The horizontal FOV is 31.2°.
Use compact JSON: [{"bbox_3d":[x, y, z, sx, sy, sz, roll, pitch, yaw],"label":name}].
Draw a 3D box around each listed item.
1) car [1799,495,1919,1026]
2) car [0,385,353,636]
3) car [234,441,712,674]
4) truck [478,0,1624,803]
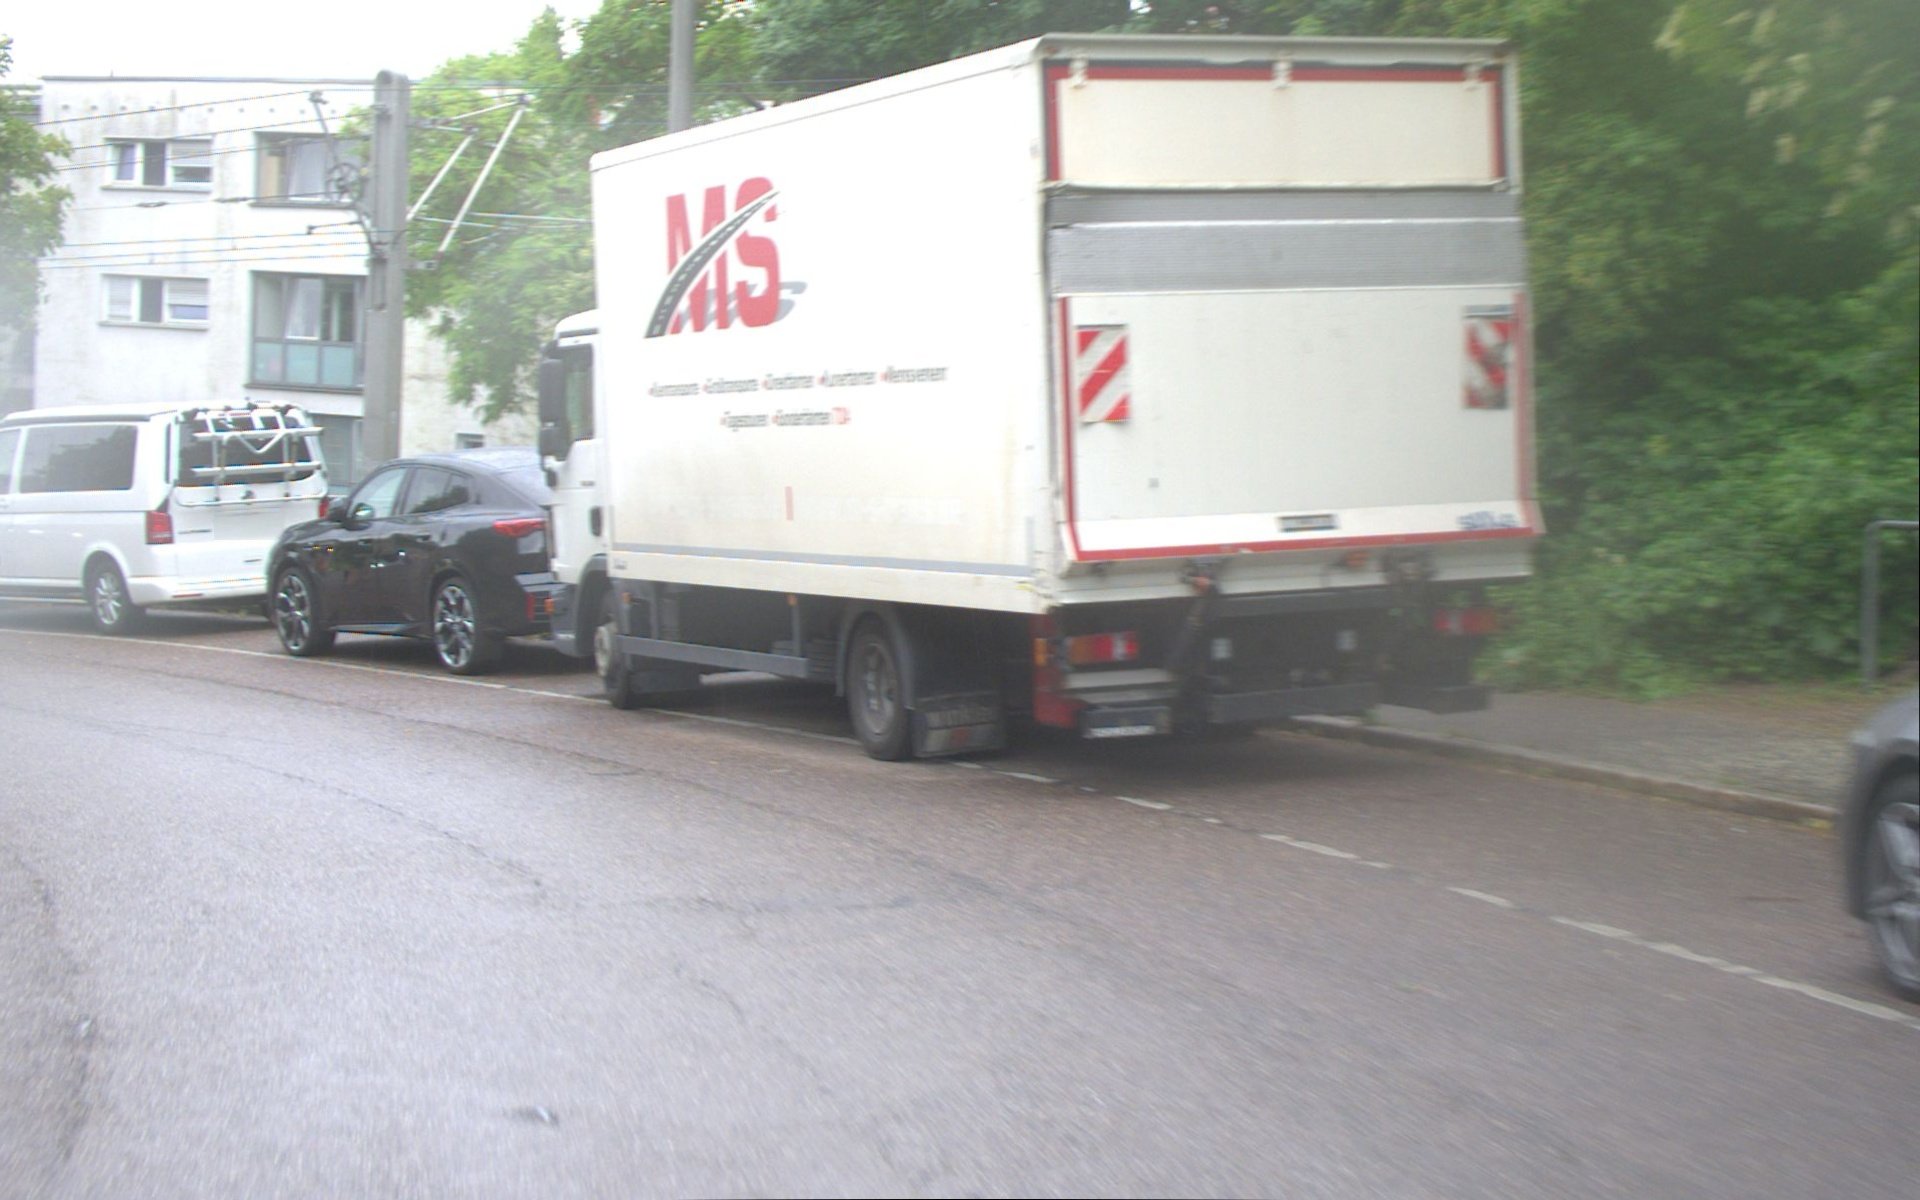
[{"bbox_3d":[3.739,0.488,8.275,1.720,1.439,4.126,-1,3,-12],"label":"car"},{"bbox_3d":[-7.595,-0.845,30.940,1.878,2.006,4.689,-7,6,-42],"label":"car"},{"bbox_3d":[-3.763,-0.382,25.997,1.719,1.550,4.276,-5,4,-36],"label":"car"},{"bbox_3d":[-0.003,-1.092,19.357,3.007,3.561,8.339,-3,3,-24],"label":"truck"}]
